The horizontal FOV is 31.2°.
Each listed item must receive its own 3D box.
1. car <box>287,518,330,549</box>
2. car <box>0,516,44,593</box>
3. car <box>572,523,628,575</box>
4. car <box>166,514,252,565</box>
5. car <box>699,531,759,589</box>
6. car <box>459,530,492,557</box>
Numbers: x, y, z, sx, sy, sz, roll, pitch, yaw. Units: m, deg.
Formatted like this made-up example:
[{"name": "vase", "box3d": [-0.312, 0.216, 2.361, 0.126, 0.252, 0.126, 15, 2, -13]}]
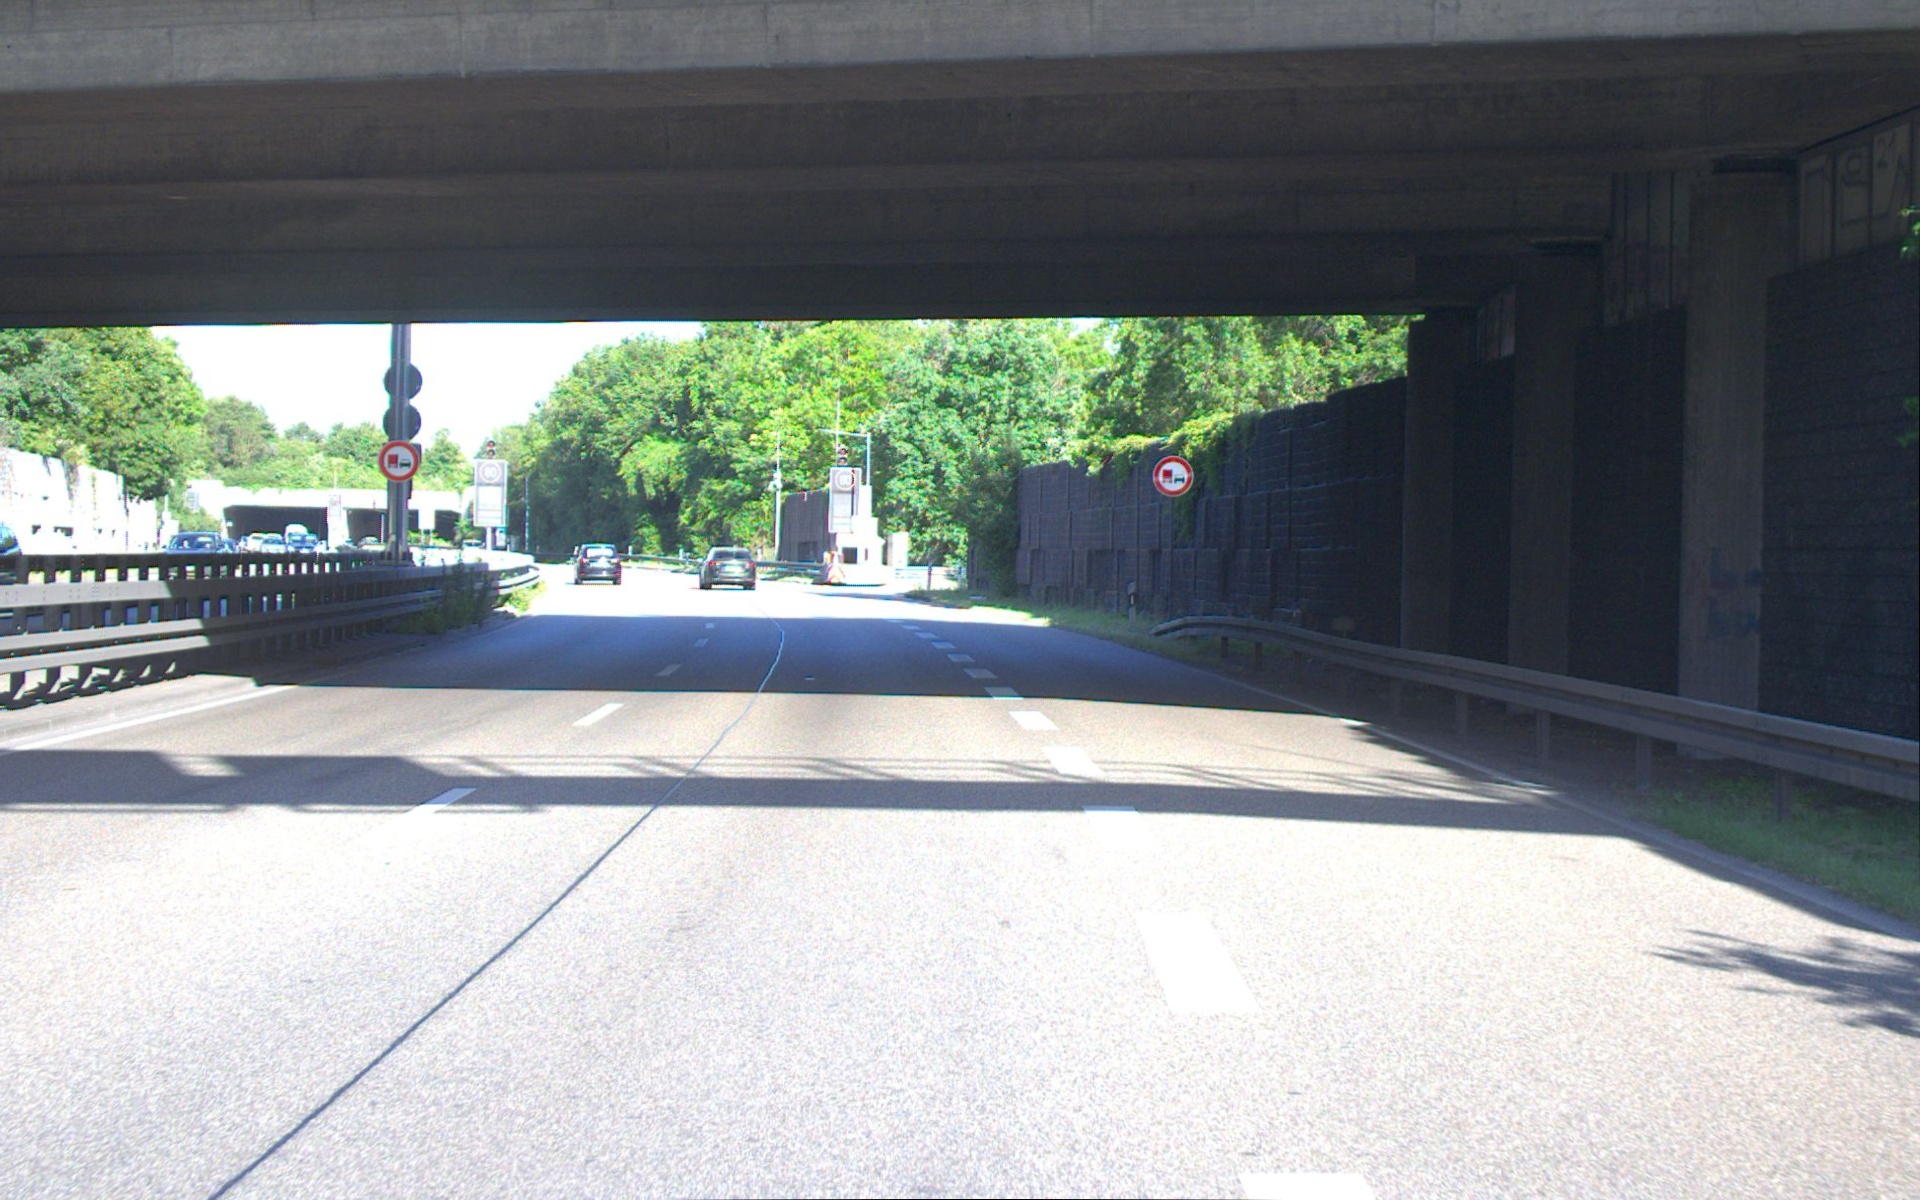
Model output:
[{"name": "car", "box3d": [-35.778, -3.682, 188.867, 1.897, 1.568, 4.809, 3, 1, -6]}, {"name": "car", "box3d": [-22.462, -1.072, 78.637, 1.993, 1.700, 4.562, 0, 1, -3]}, {"name": "car", "box3d": [-13.900, -1.993, 132.881, 1.993, 1.919, 4.001, 2, 1, -5]}, {"name": "car", "box3d": [-24.340, -1.971, 111.518, 1.993, 1.590, 4.428, 1, 1, -3]}, {"name": "car", "box3d": [-8.103, -1.430, 120.491, 1.993, 1.919, 4.001, 2, 1, -5]}, {"name": "car", "box3d": [-36.354, -4.214, 257.741, 1.993, 1.919, 4.001, 2, 1, -14]}]
